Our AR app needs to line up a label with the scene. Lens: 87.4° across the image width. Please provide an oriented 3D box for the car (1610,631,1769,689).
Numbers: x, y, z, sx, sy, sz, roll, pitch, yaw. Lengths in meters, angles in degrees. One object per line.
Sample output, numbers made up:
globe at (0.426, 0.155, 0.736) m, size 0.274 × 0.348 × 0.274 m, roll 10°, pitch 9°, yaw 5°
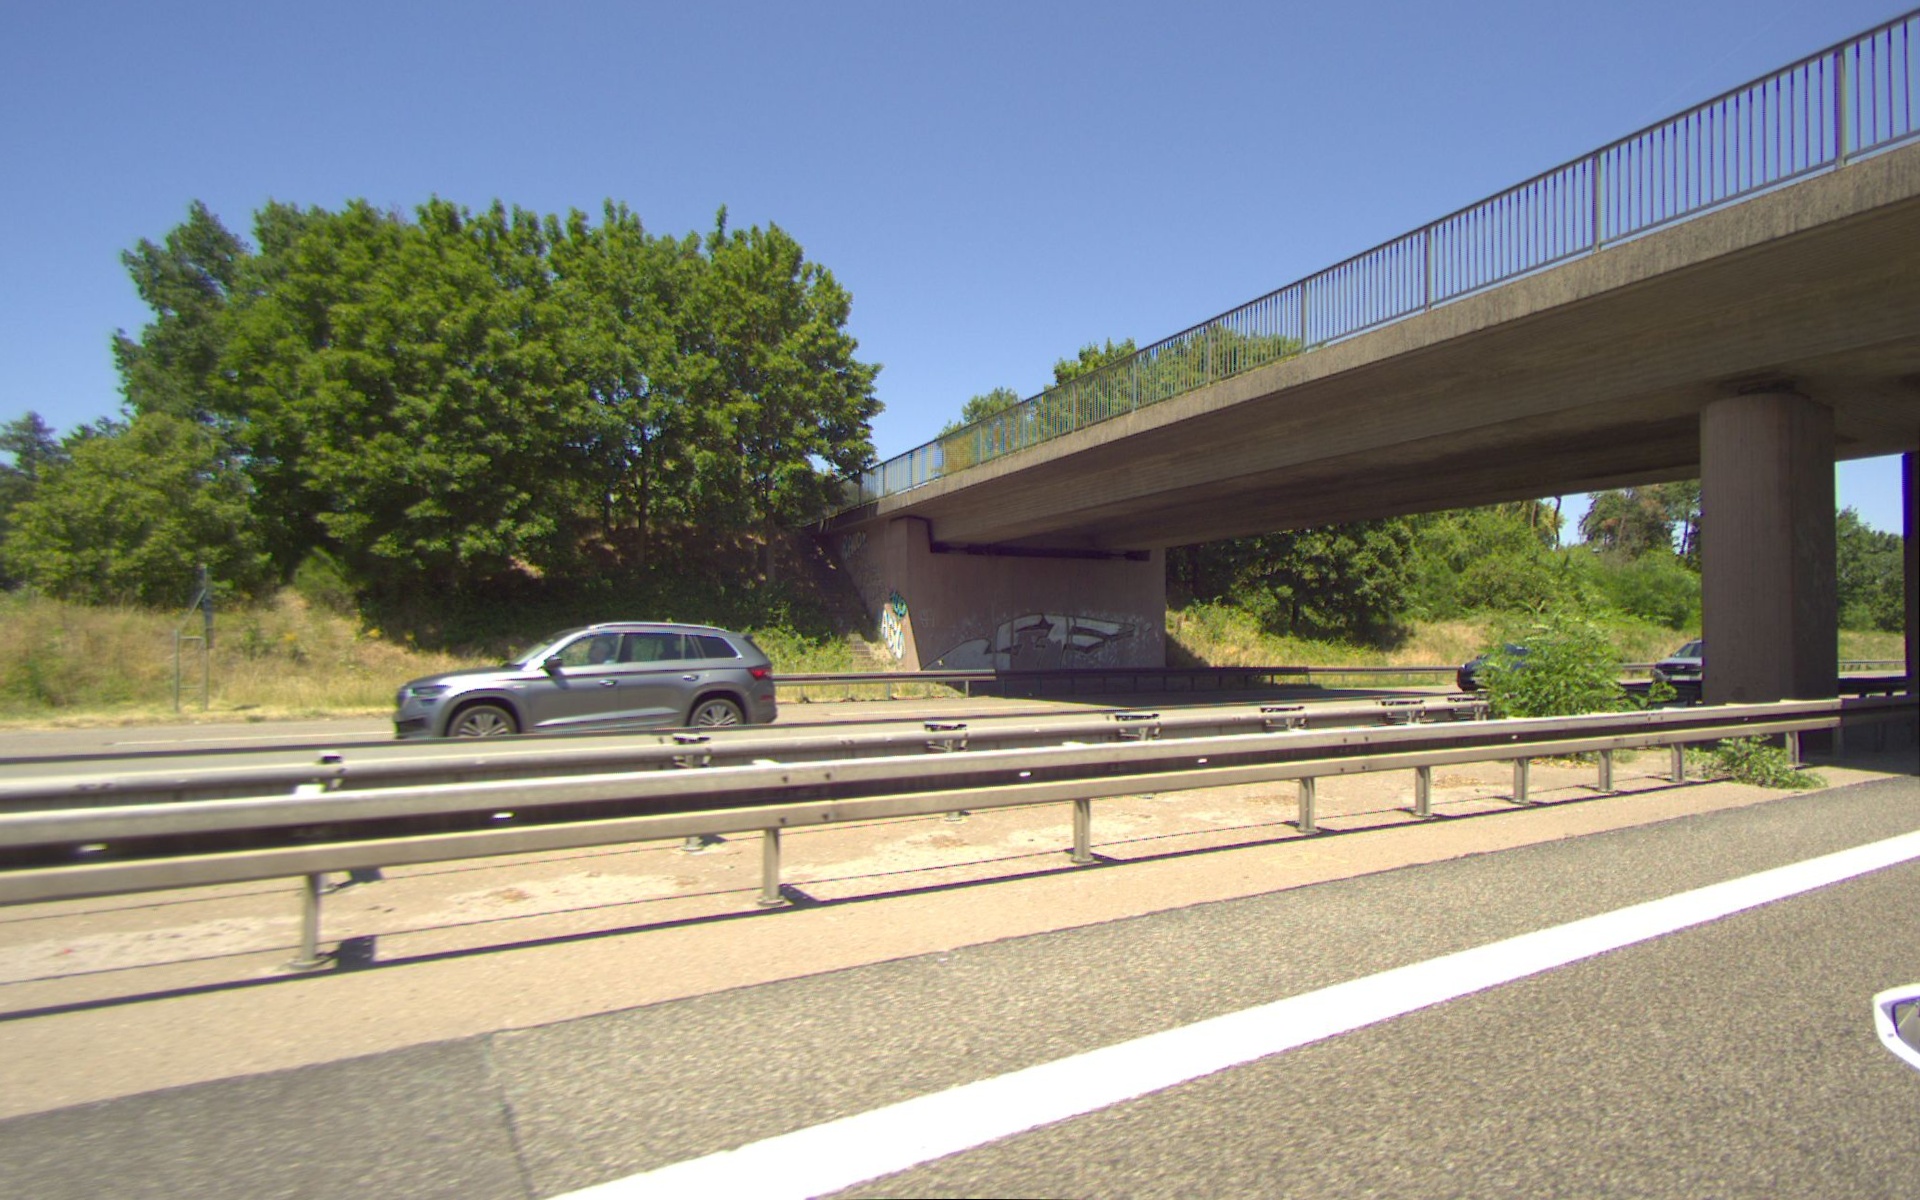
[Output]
car at (22.390, 1.811, 30.790) m, size 5.003 × 1.631 × 2.217 m, roll 1°, pitch -4°, yaw -32°

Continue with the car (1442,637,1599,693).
car at (17.937, 2.043, 32.080) m, size 5.003 × 1.631 × 2.217 m, roll 1°, pitch -4°, yaw -32°

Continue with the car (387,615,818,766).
car at (-4.601, 1.097, 13.182) m, size 5.003 × 1.631 × 2.217 m, roll 1°, pitch -4°, yaw -32°

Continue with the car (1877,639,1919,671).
car at (49.686, 2.821, 51.820) m, size 5.003 × 1.631 × 2.217 m, roll 1°, pitch -4°, yaw -32°
